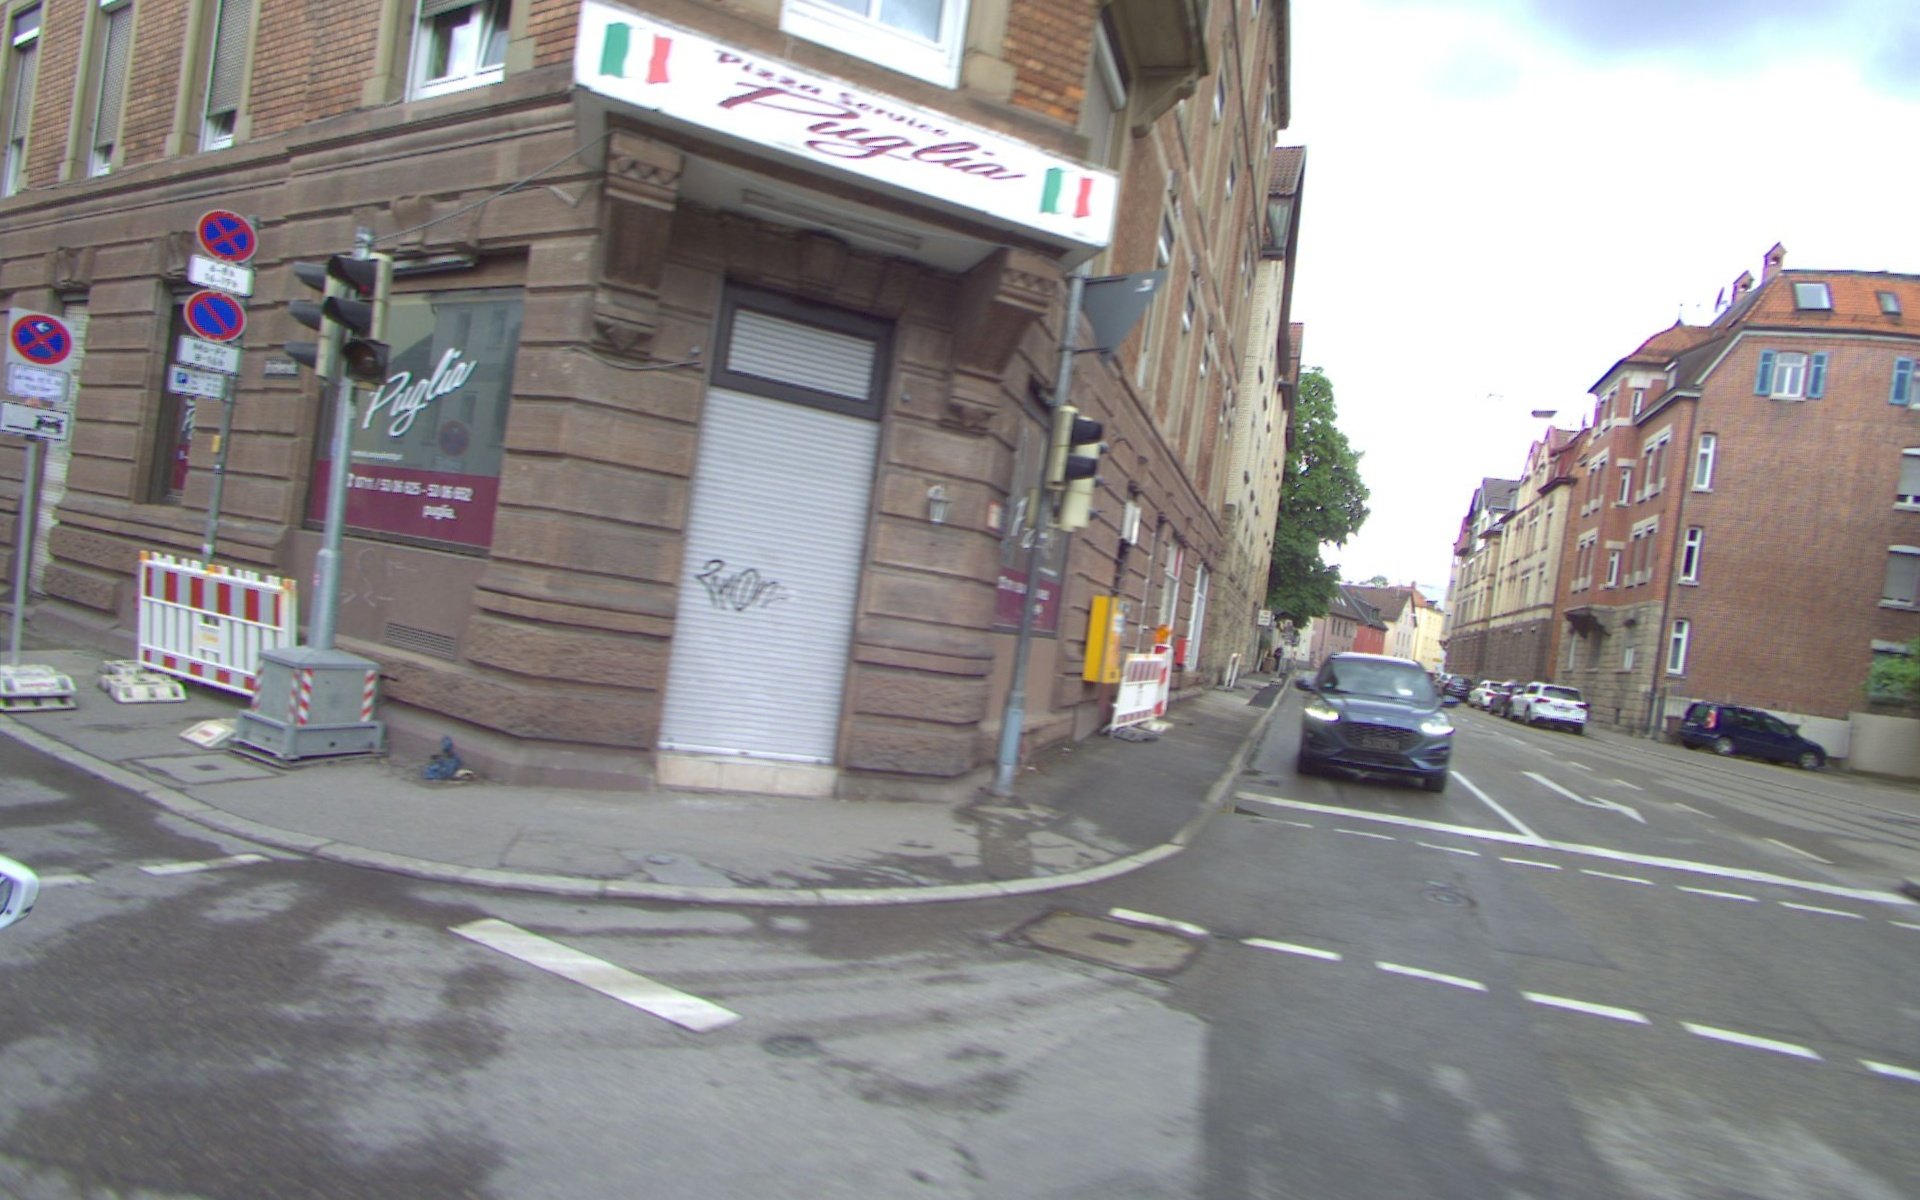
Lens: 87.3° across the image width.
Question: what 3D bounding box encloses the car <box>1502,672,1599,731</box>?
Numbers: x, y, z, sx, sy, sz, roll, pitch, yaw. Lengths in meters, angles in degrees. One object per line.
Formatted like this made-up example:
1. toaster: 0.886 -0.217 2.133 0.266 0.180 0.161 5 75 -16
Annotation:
1. car: 21.753 3.681 37.247 1.918 1.739 4.003 6 -1 15

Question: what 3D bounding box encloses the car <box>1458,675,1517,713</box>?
1. car: 24.958 4.408 47.693 1.782 1.480 4.001 6 -1 20

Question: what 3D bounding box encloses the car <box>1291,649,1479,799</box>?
1. car: 5.804 1.582 14.207 1.963 1.534 4.285 6 0 19

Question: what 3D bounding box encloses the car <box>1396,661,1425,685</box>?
1. car: 38.872 6.273 86.874 1.847 1.778 4.000 8 0 21

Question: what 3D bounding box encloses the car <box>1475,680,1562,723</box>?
1. car: 23.281 4.215 42.135 1.962 1.303 4.003 8 -1 12

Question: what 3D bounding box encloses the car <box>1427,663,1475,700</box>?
1. car: 28.540 4.723 58.625 1.933 1.684 3.819 9 1 21

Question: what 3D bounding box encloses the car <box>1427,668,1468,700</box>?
1. car: 33.097 5.666 68.395 1.963 1.859 4.002 7 -1 20

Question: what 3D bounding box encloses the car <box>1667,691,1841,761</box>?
1. car: 25.395 4.011 32.315 3.848 1.571 1.872 7 -1 8

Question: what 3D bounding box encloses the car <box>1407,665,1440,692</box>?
1. car: 35.378 5.954 76.860 1.877 1.664 3.950 8 0 21

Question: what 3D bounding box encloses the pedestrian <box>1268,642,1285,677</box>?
1. pedestrian: 19.308 3.634 61.332 0.752 2.038 0.754 6 0 17
